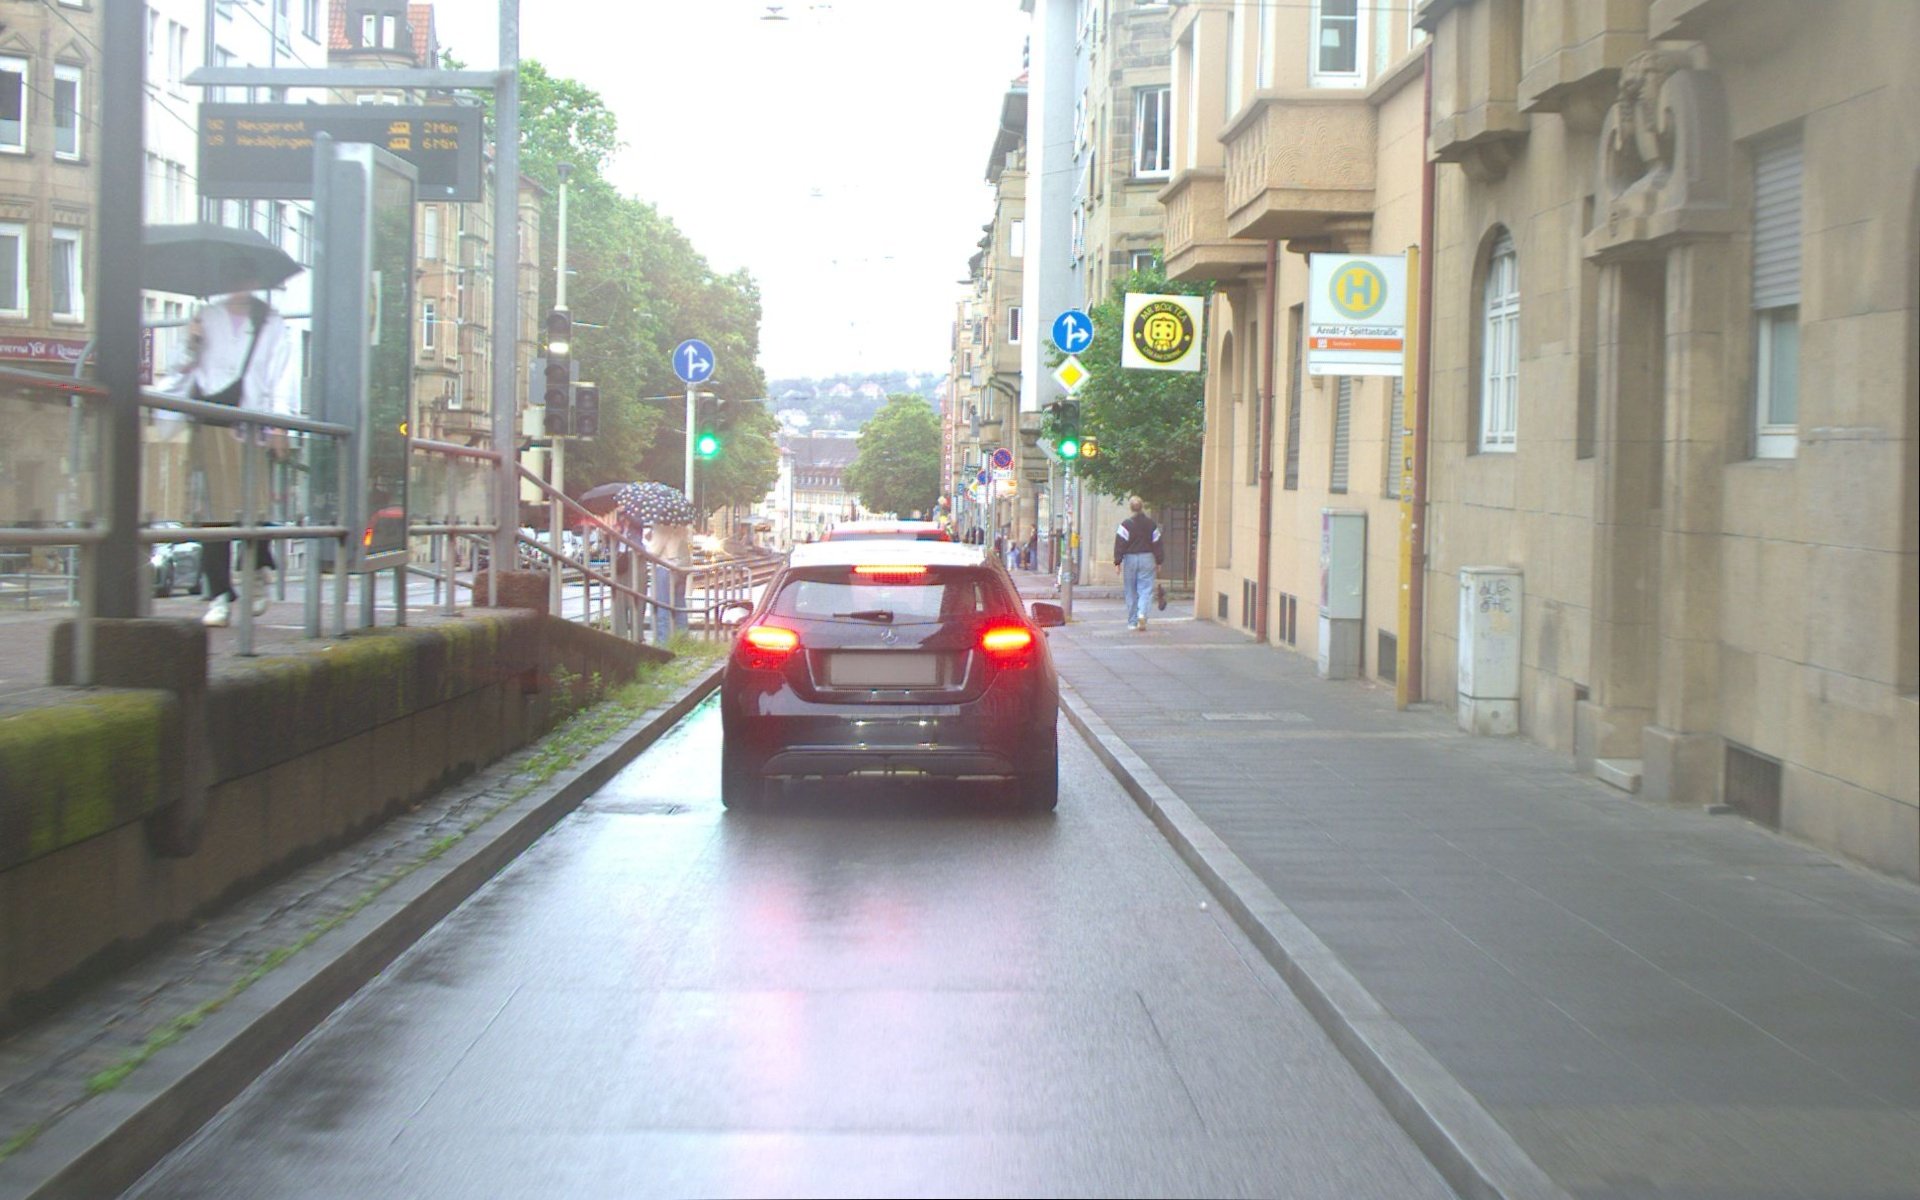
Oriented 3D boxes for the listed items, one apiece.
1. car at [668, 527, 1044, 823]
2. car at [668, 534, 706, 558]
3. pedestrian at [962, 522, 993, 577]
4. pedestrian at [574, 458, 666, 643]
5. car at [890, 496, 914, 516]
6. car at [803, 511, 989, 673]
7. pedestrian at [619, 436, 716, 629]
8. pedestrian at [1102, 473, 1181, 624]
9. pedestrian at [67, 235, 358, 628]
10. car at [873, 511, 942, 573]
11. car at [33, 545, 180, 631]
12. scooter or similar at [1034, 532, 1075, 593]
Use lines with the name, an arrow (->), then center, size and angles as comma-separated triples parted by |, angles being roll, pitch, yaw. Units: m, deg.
car -> -0.493, 0.335, 19.272 | 1.866, 1.447, 4.000 | 1, 1, 1
car -> -16.027, -3.181, 201.959 | 1.948, 1.392, 4.274 | -1, 1, 0
pedestrian -> 0.558, -1.638, 110.986 | 0.945, 1.763, 1.015 | 0, 1, -3
pedestrian -> -3.756, -0.553, 38.091 | 0.897, 2.007, 0.947 | 1, 1, -1
car -> -4.081, -6.552, 240.917 | 1.613, 1.313, 4.000 | 2, 1, -1
car -> -0.568, -0.121, 33.448 | 1.649, 1.447, 4.000 | 1, 1, 1
pedestrian -> -3.106, -0.718, 36.626 | 0.926, 2.007, 0.947 | 1, 1, -1
pedestrian -> 2.296, -0.651, 43.354 | 0.899, 1.834, 0.968 | -3, 1, 4
pedestrian -> -3.507, -0.779, 16.242 | 1.114, 1.768, 1.111 | 1, 1, -1
car -> -1.366, -1.524, 89.664 | 1.765, 1.553, 4.746 | 0, 1, -1
car -> -16.080, -0.256, 64.980 | 1.643, 1.491, 4.764 | 1, 1, -1
scooter or similar -> 1.883, -0.763, 68.841 | 0.638, 1.206, 1.553 | -1, 1, -5
